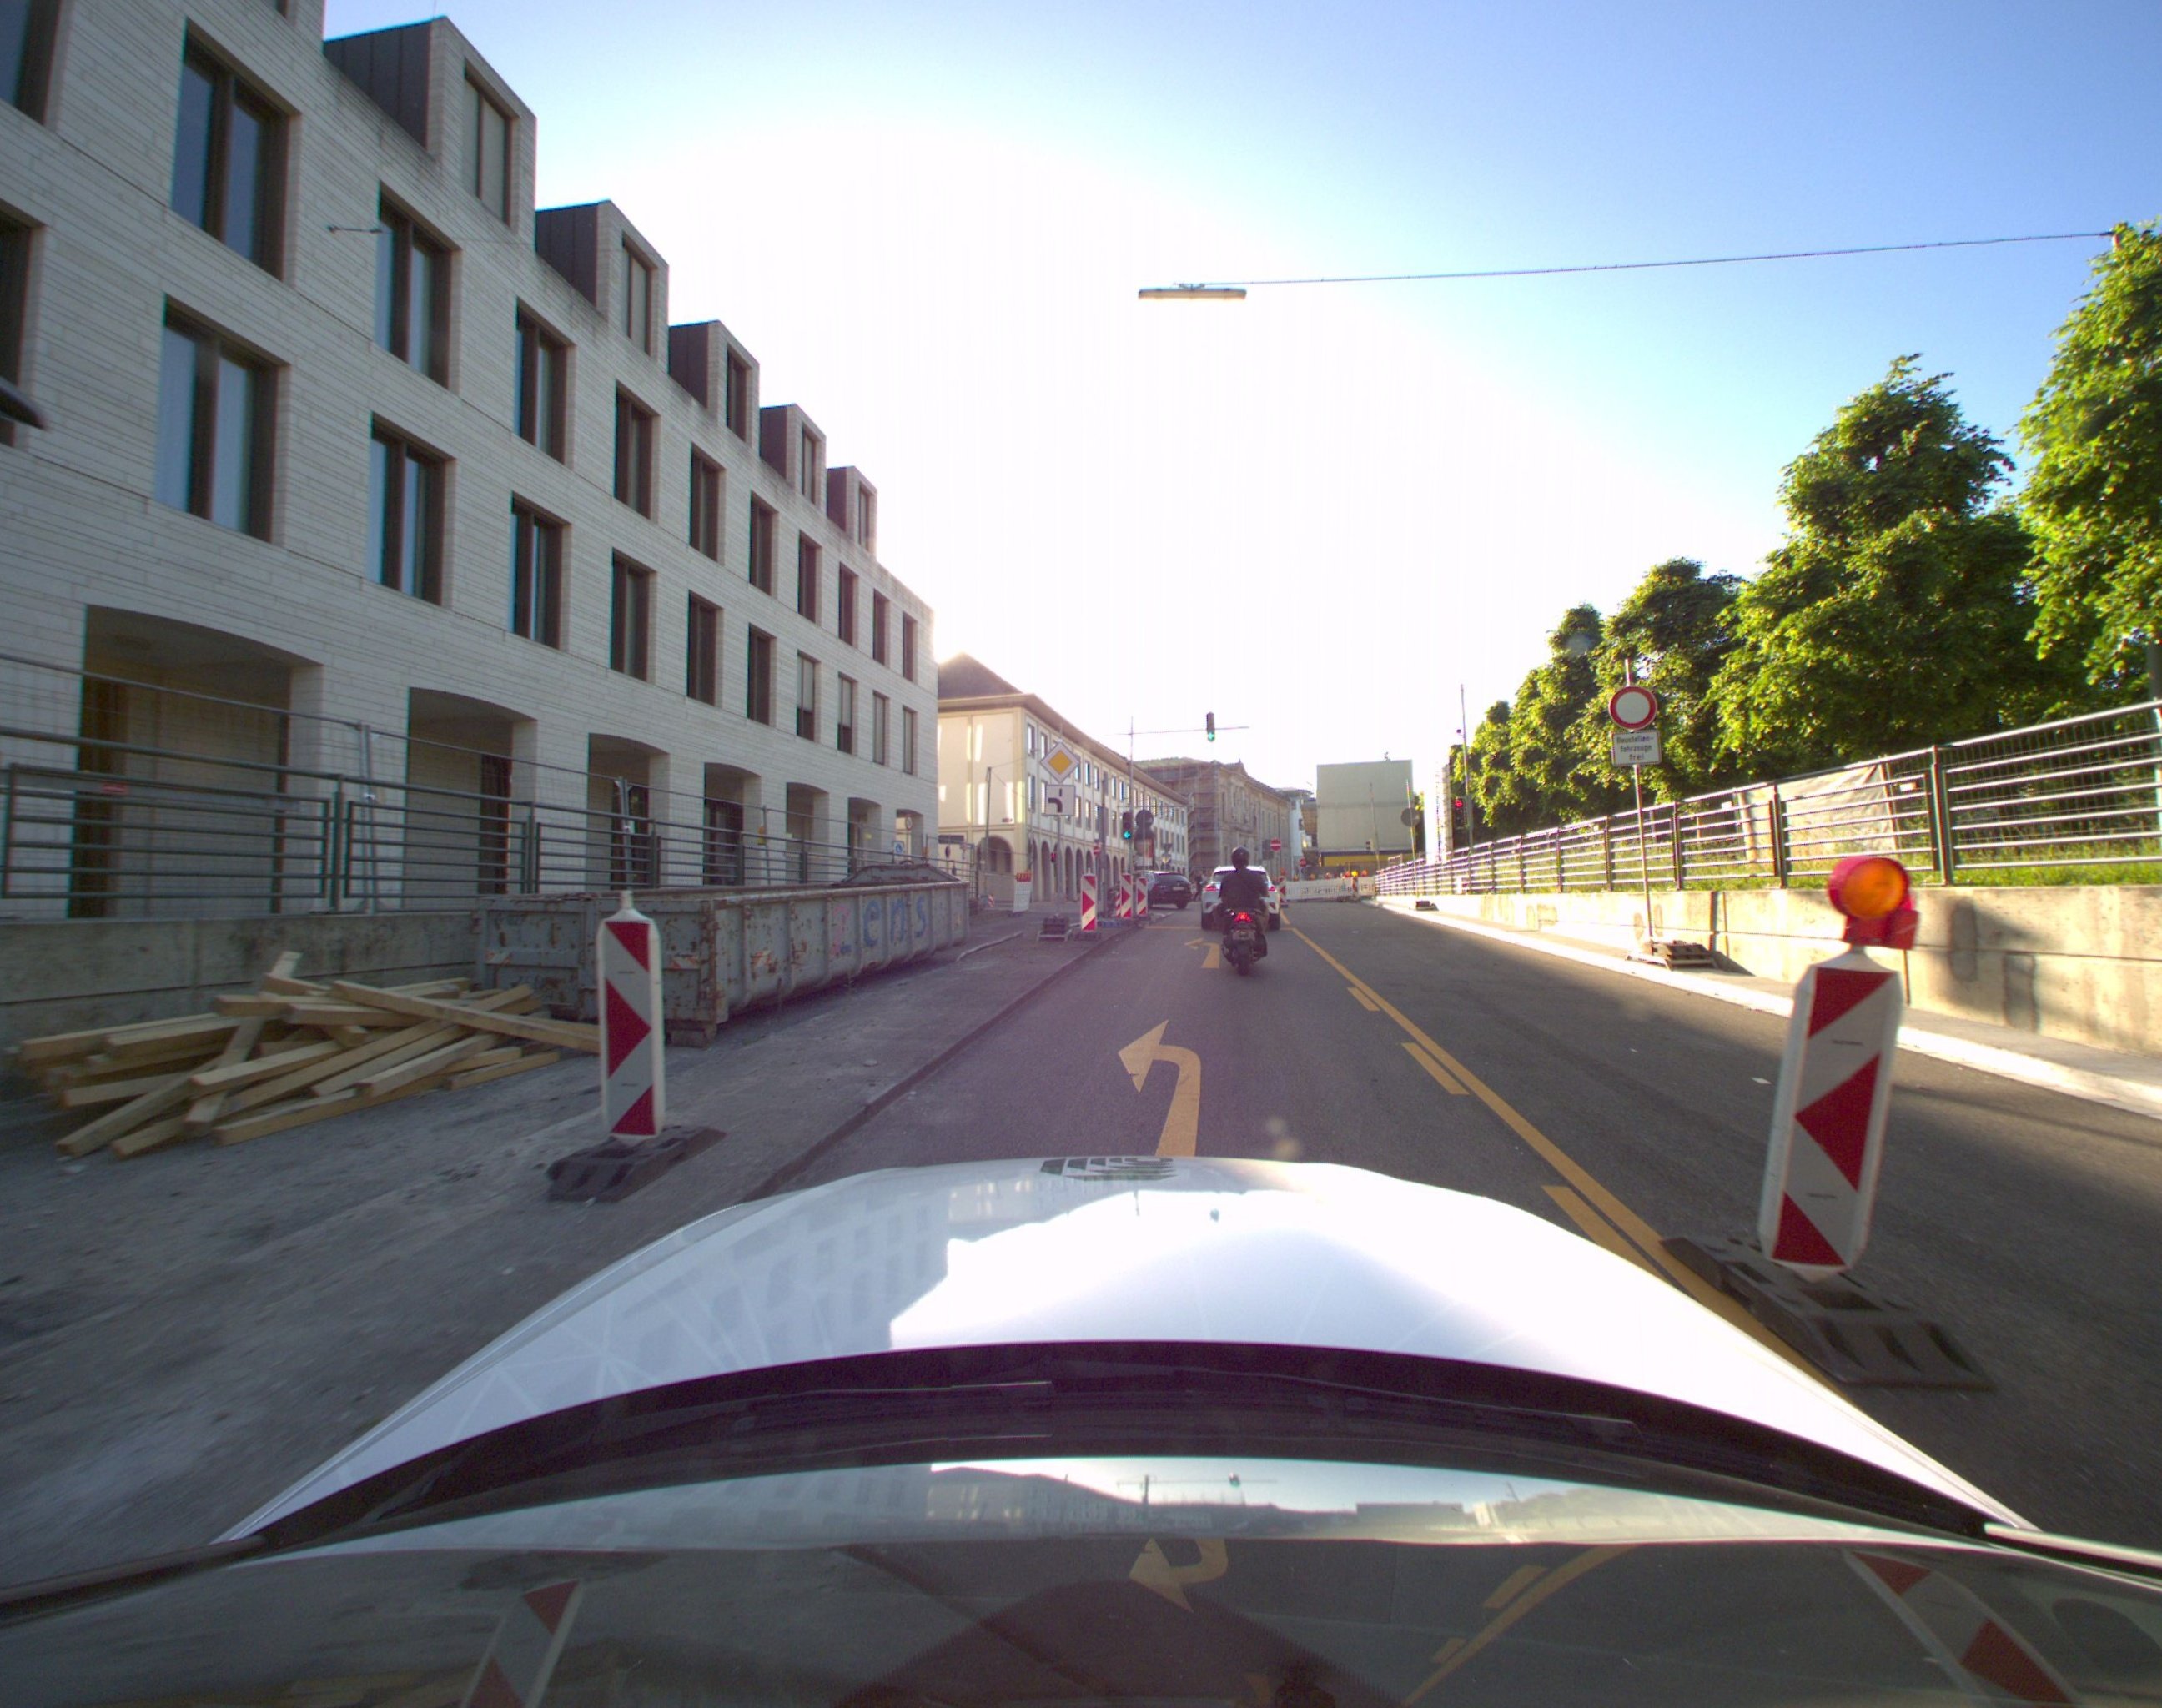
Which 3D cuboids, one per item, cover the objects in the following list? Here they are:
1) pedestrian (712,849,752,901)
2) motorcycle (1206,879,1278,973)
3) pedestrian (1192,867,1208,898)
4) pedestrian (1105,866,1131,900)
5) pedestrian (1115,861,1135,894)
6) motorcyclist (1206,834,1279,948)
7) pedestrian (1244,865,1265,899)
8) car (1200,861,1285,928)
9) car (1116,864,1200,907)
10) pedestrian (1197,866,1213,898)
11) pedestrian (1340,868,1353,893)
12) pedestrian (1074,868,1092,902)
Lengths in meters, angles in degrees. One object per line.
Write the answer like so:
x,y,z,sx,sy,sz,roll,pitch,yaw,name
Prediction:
-10.515,0.622,24.559,0.666,1.487,0.801,-5,0,12,pedestrian
2.378,0.979,11.898,0.899,1.183,2.587,-1,-1,12,motorcycle
6.623,1.590,45.388,0.731,1.716,0.624,-3,-3,17,pedestrian
2.013,1.569,43.879,1.234,1.802,0.719,-2,0,13,pedestrian
2.412,1.296,44.529,0.931,1.778,0.714,-2,0,13,pedestrian
2.354,0.527,11.826,0.947,1.560,1.243,-1,-1,12,motorcyclist
9.191,1.474,43.124,0.967,1.729,0.801,-3,-4,13,pedestrian
4.001,0.966,20.137,1.847,1.472,4.012,0,-2,11,car
2.949,1.245,32.185,1.779,1.550,4.079,-1,-2,-19,car
7.051,1.607,46.188,0.731,1.771,0.624,-3,-3,17,pedestrian
13.968,1.388,42.865,0.613,1.300,0.496,1,-2,16,pedestrian
0.122,1.667,44.172,0.767,1.802,0.714,-2,0,14,pedestrian
